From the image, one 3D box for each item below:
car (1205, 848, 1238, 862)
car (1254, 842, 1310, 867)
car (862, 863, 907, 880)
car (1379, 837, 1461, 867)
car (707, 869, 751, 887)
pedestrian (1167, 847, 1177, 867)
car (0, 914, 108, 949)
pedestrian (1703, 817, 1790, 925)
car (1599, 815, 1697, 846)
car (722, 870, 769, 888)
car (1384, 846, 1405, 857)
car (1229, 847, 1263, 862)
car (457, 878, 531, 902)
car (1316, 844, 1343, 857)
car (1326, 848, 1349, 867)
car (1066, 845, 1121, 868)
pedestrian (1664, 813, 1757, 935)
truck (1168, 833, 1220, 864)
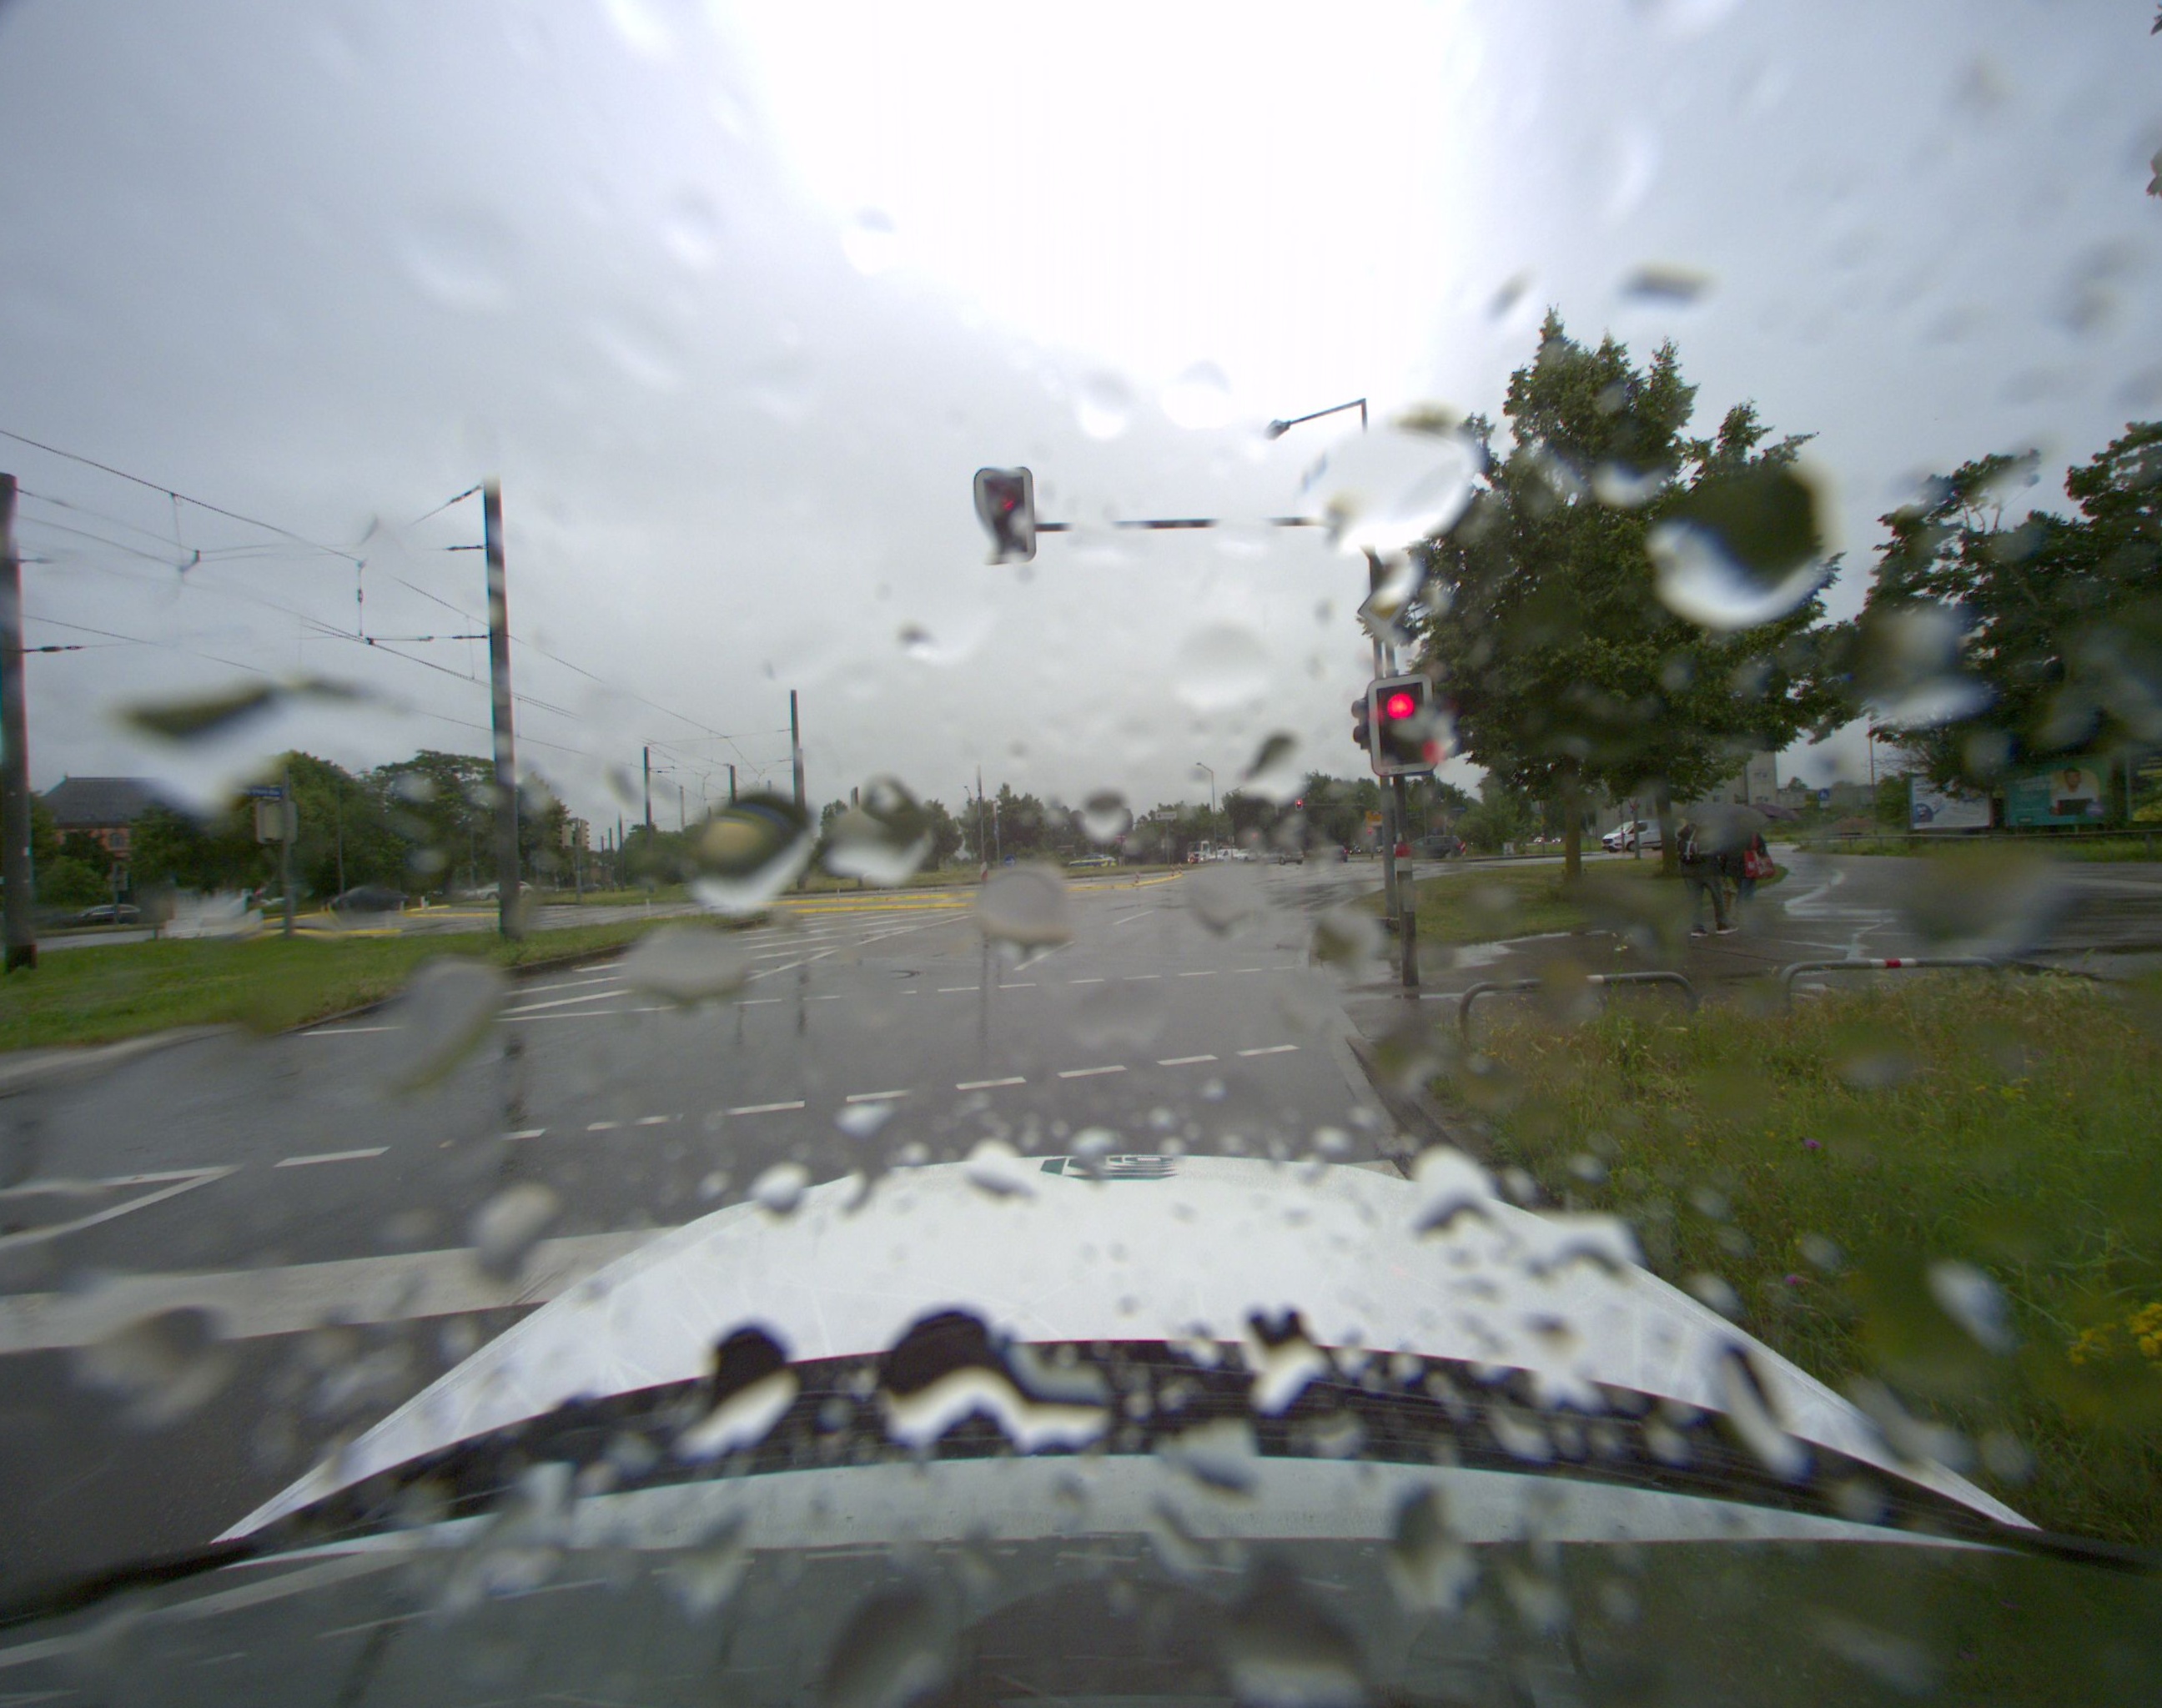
[{"bbox_3d":[16.572,0.148,95.980,1.779,1.662,4.159,-1,-1,43],"label":"car"},{"bbox_3d":[15.732,0.088,63.957,2.000,1.851,4.744,0,-1,-20],"label":"car"},{"bbox_3d":[-19.109,1.710,79.291,3.960,1.454,1.624,-2,0,1],"label":"car"},{"bbox_3d":[22.351,-0.111,53.744,4.714,1.851,2.012,-1,-1,31],"label":"car"},{"bbox_3d":[-37.141,2.494,85.989,1.660,1.816,4.025,-1,-1,31],"label":"car"},{"bbox_3d":[6.080,0.218,54.366,0.448,1.304,0.489,-3,-1,40],"label":"pedestrian"},{"bbox_3d":[-55.188,4.115,43.743,1.601,1.543,3.505,-1,-1,32],"label":"car"},{"bbox_3d":[9.489,0.241,11.633,0.678,1.461,0.573,-3,-1,-3],"label":"pedestrian"},{"bbox_3d":[35.752,-1.471,51.448,4.736,1.851,2.003,0,-1,6],"label":"car"},{"bbox_3d":[-31.937,2.347,77.644,3.990,1.454,1.612,-2,0,-22],"label":"car"},{"bbox_3d":[49.595,-0.434,128.703,1.779,1.662,4.024,-1,-1,43],"label":"car"},{"bbox_3d":[19.108,0.107,94.333,1.779,1.662,4.436,-1,-1,43],"label":"car"},{"bbox_3d":[-41.365,2.526,57.506,1.606,1.454,4.129,-2,0,15],"label":"car"},{"bbox_3d":[33.793,-0.506,110.632,1.779,1.662,4.437,-3,0,43],"label":"car"},{"bbox_3d":[22.213,0.286,70.723,1.606,1.454,4.003,-2,0,14],"label":"car"},{"bbox_3d":[1.107,0.273,72.774,4.715,1.851,2.012,-3,0,42],"label":"car"},{"bbox_3d":[8.128,0.248,10.542,0.619,1.522,0.741,-1,0,0],"label":"pedestrian"},{"bbox_3d":[10.353,-0.420,74.054,2.439,2.686,8.105,-1,-1,25],"label":"truck"}]
